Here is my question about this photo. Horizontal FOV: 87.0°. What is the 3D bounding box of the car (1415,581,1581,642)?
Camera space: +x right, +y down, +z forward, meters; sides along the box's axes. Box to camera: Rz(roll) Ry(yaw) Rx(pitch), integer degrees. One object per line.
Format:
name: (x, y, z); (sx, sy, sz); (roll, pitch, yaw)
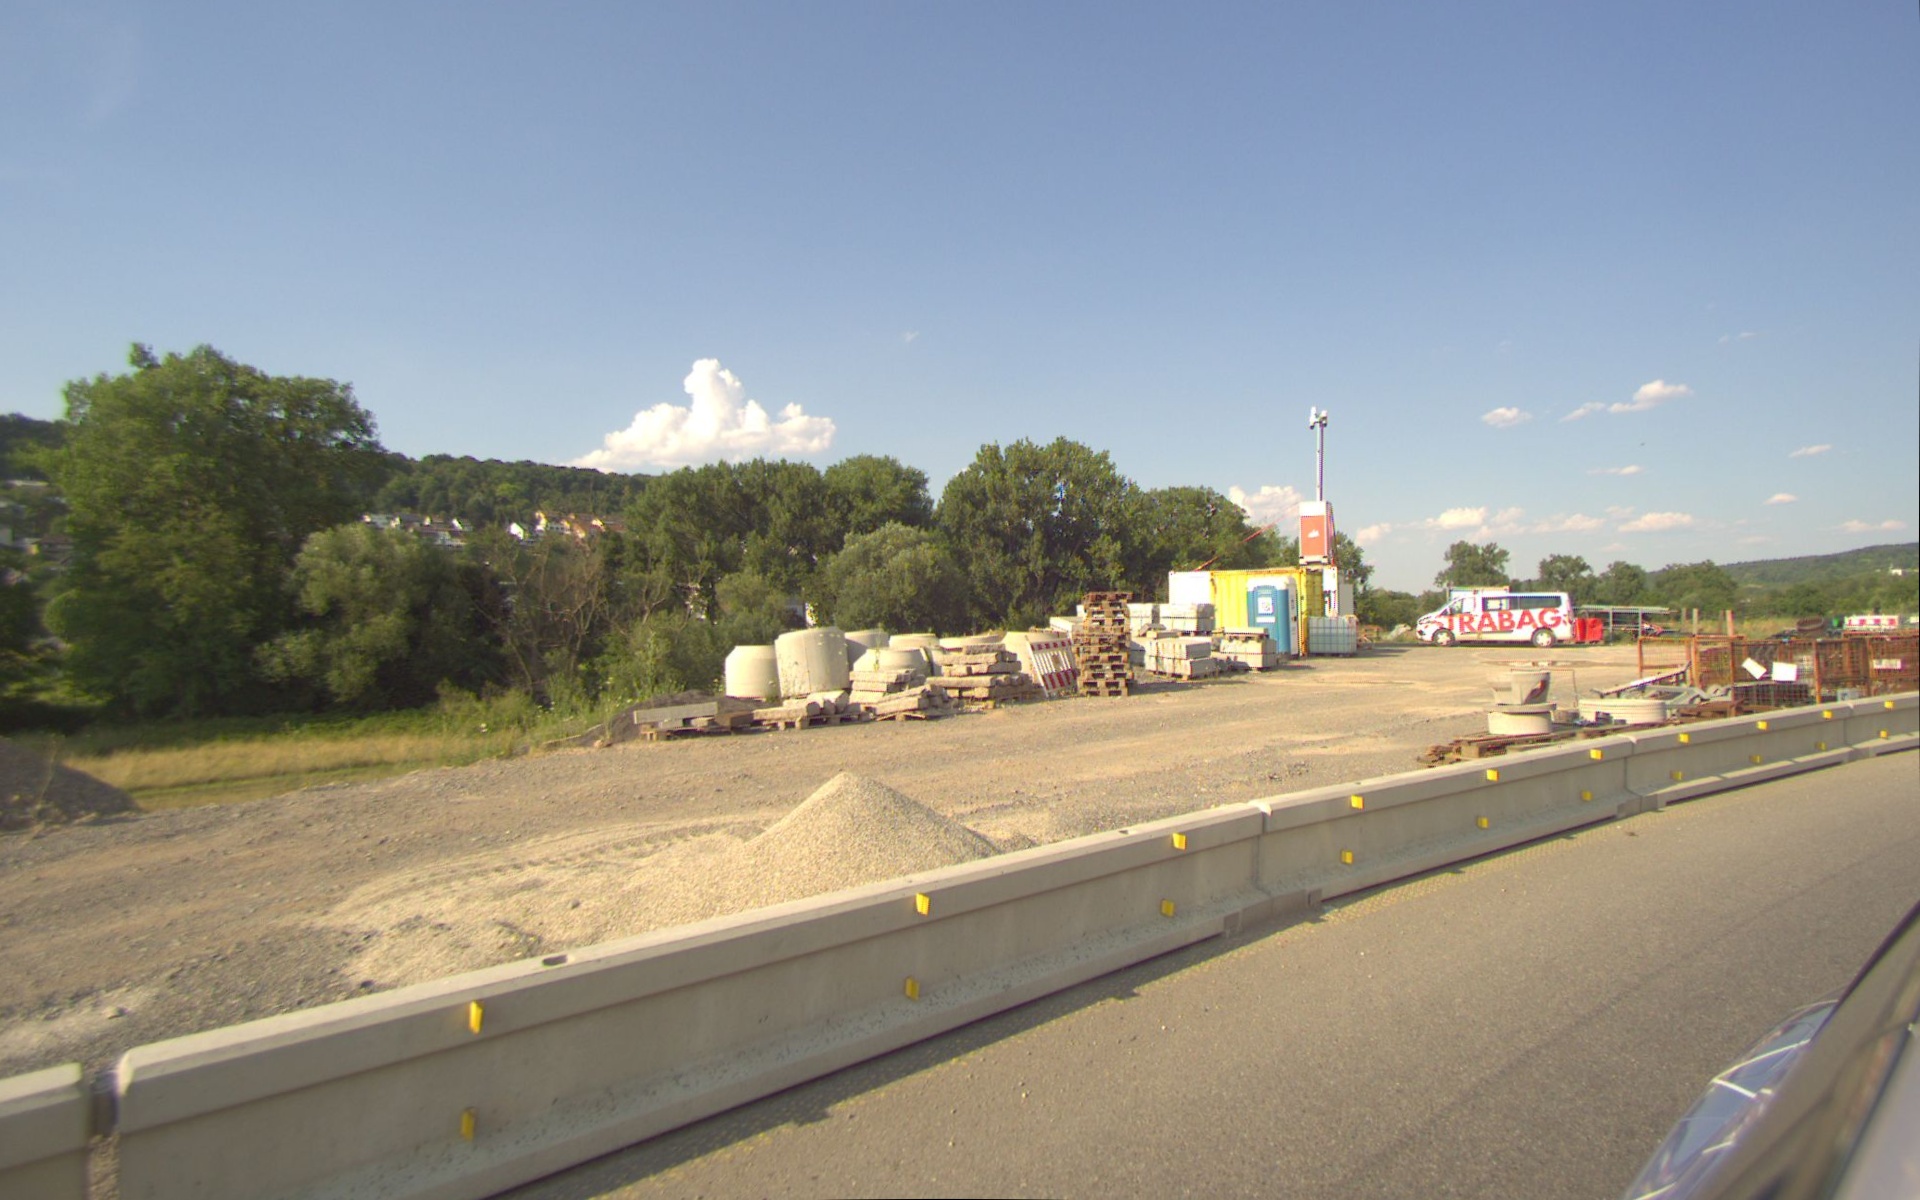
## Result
car: (20.009, 0.456, 37.850); (5.271, 2.105, 2.462); (-2, -1, 29)
